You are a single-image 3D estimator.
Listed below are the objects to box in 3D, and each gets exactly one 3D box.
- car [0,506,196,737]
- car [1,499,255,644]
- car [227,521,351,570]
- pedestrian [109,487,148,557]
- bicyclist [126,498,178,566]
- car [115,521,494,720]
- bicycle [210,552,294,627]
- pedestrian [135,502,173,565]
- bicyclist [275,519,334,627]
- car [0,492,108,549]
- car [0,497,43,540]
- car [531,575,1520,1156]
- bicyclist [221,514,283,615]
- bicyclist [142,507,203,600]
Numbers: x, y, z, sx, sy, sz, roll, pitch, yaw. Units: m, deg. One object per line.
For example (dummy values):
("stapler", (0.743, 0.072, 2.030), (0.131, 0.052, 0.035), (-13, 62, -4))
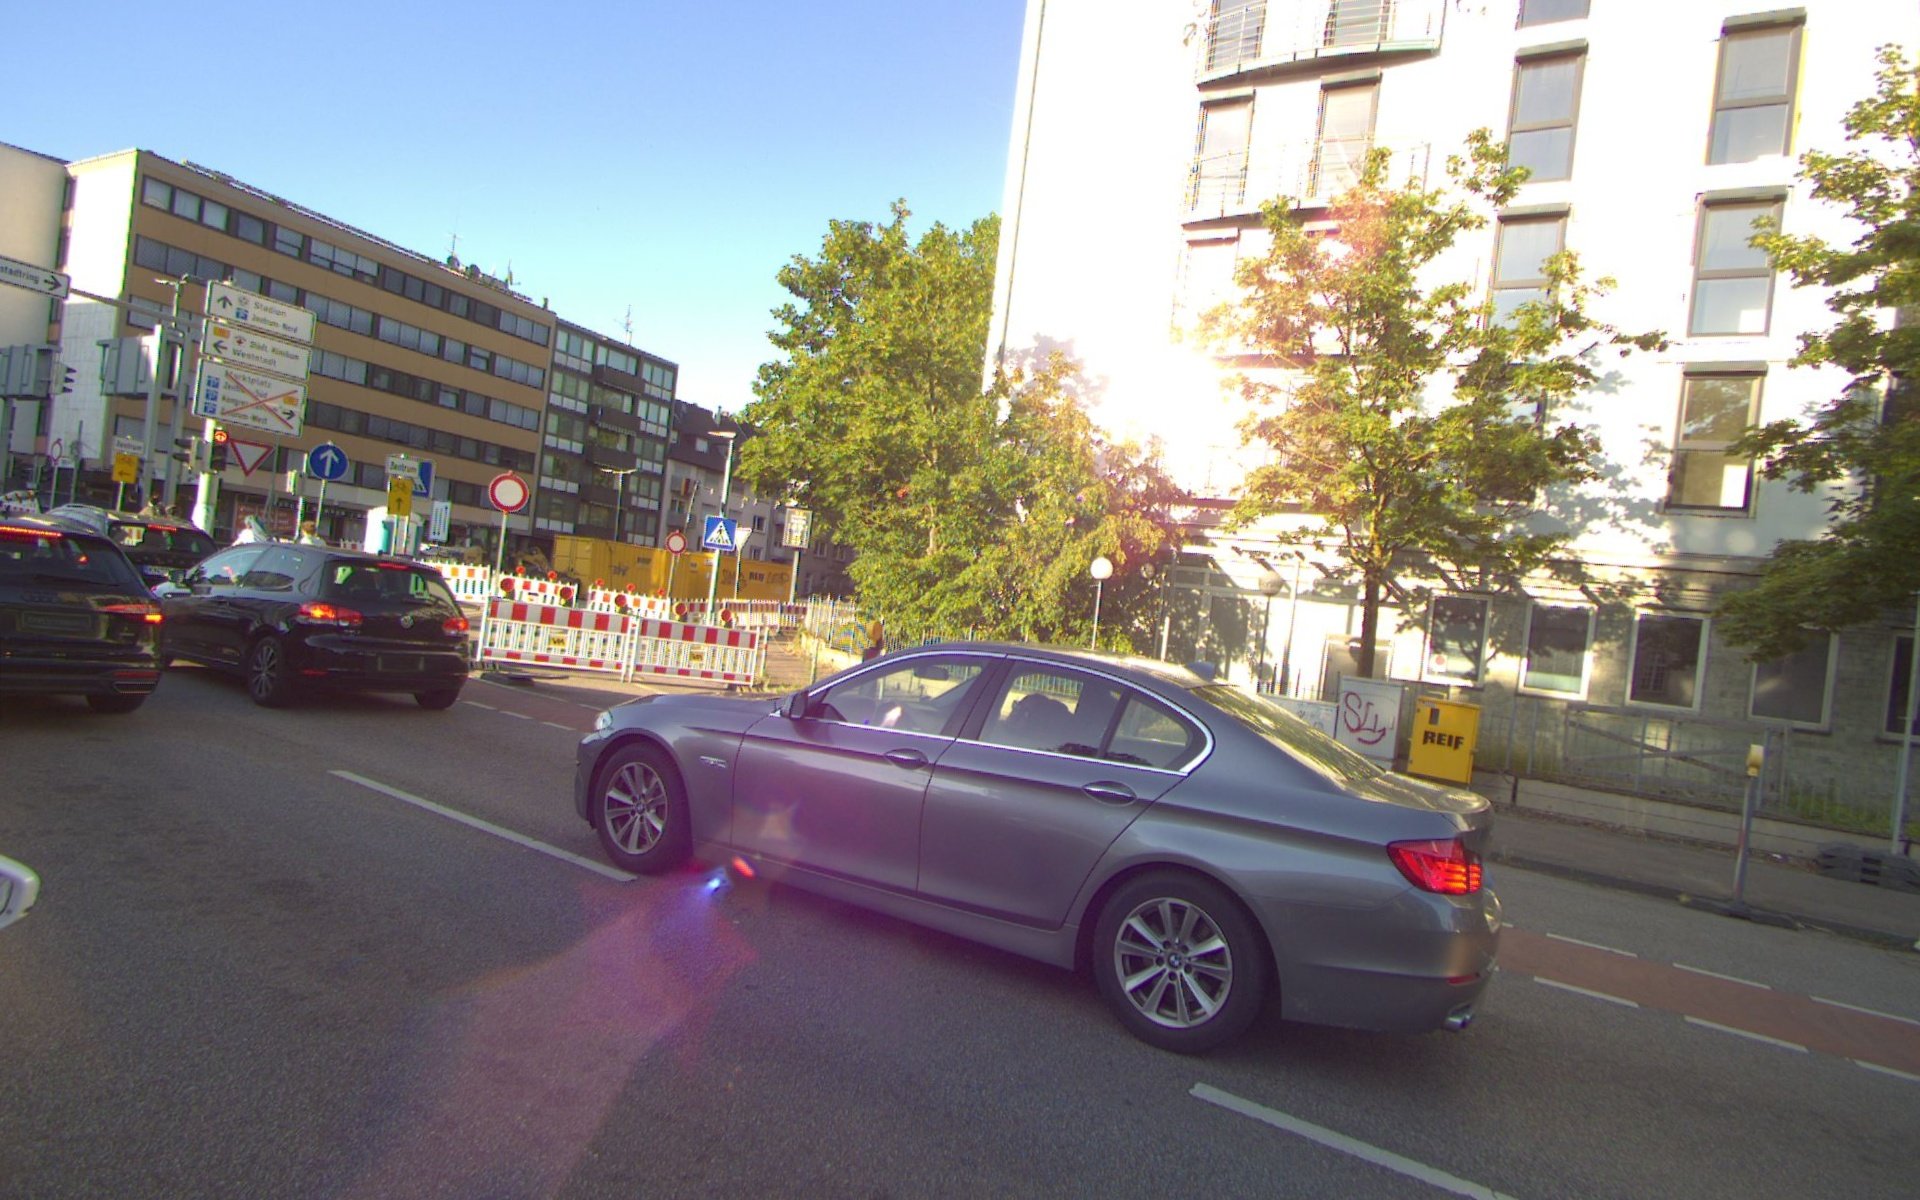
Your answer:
("car", (-7.672, -0.047, 7.474), (4.144, 1.437, 1.685), (7, -2, 32))
("car", (-11.058, -0.390, 13.343), (3.250, 1.466, 1.508), (7, -2, 32))
("car", (-27.789, -2.221, 41.823), (1.650, 1.435, 4.001), (7, -1, 18))
("pedestrian", (-23.307, -2.173, 28.192), (0.479, 1.857, 0.570), (7, 0, 34))
("bicyclist", (-20.856, -1.746, 25.970), (0.800, 1.608, 0.619), (8, 0, 29))
("car", (-6.610, 0.178, 10.065), (3.683, 1.466, 1.637), (7, -2, 32))
("bicycle", (-11.474, -0.175, 16.279), (1.825, 1.020, 0.337), (7, 0, 32))
("pedestrian", (-23.066, -1.905, 28.805), (0.447, 1.691, 0.602), (7, 0, 33))
("bicyclist", (-9.801, -0.404, 15.035), (0.474, 1.544, 0.441), (7, 0, 31))
("car", (-31.363, -2.755, 33.688), (1.649, 1.535, 4.003), (7, -1, 13))
("car", (-34.633, -3.065, 34.825), (1.696, 1.370, 3.827), (7, -1, 24))
("car", (0.162, 0.911, 5.167), (4.587, 1.466, 1.819), (7, -1, 29))
("bicyclist", (-11.492, -0.569, 16.324), (0.713, 1.544, 0.441), (7, 0, 32))
("bicyclist", (-13.948, -0.824, 17.822), (0.713, 1.544, 0.514), (7, 0, 32))
